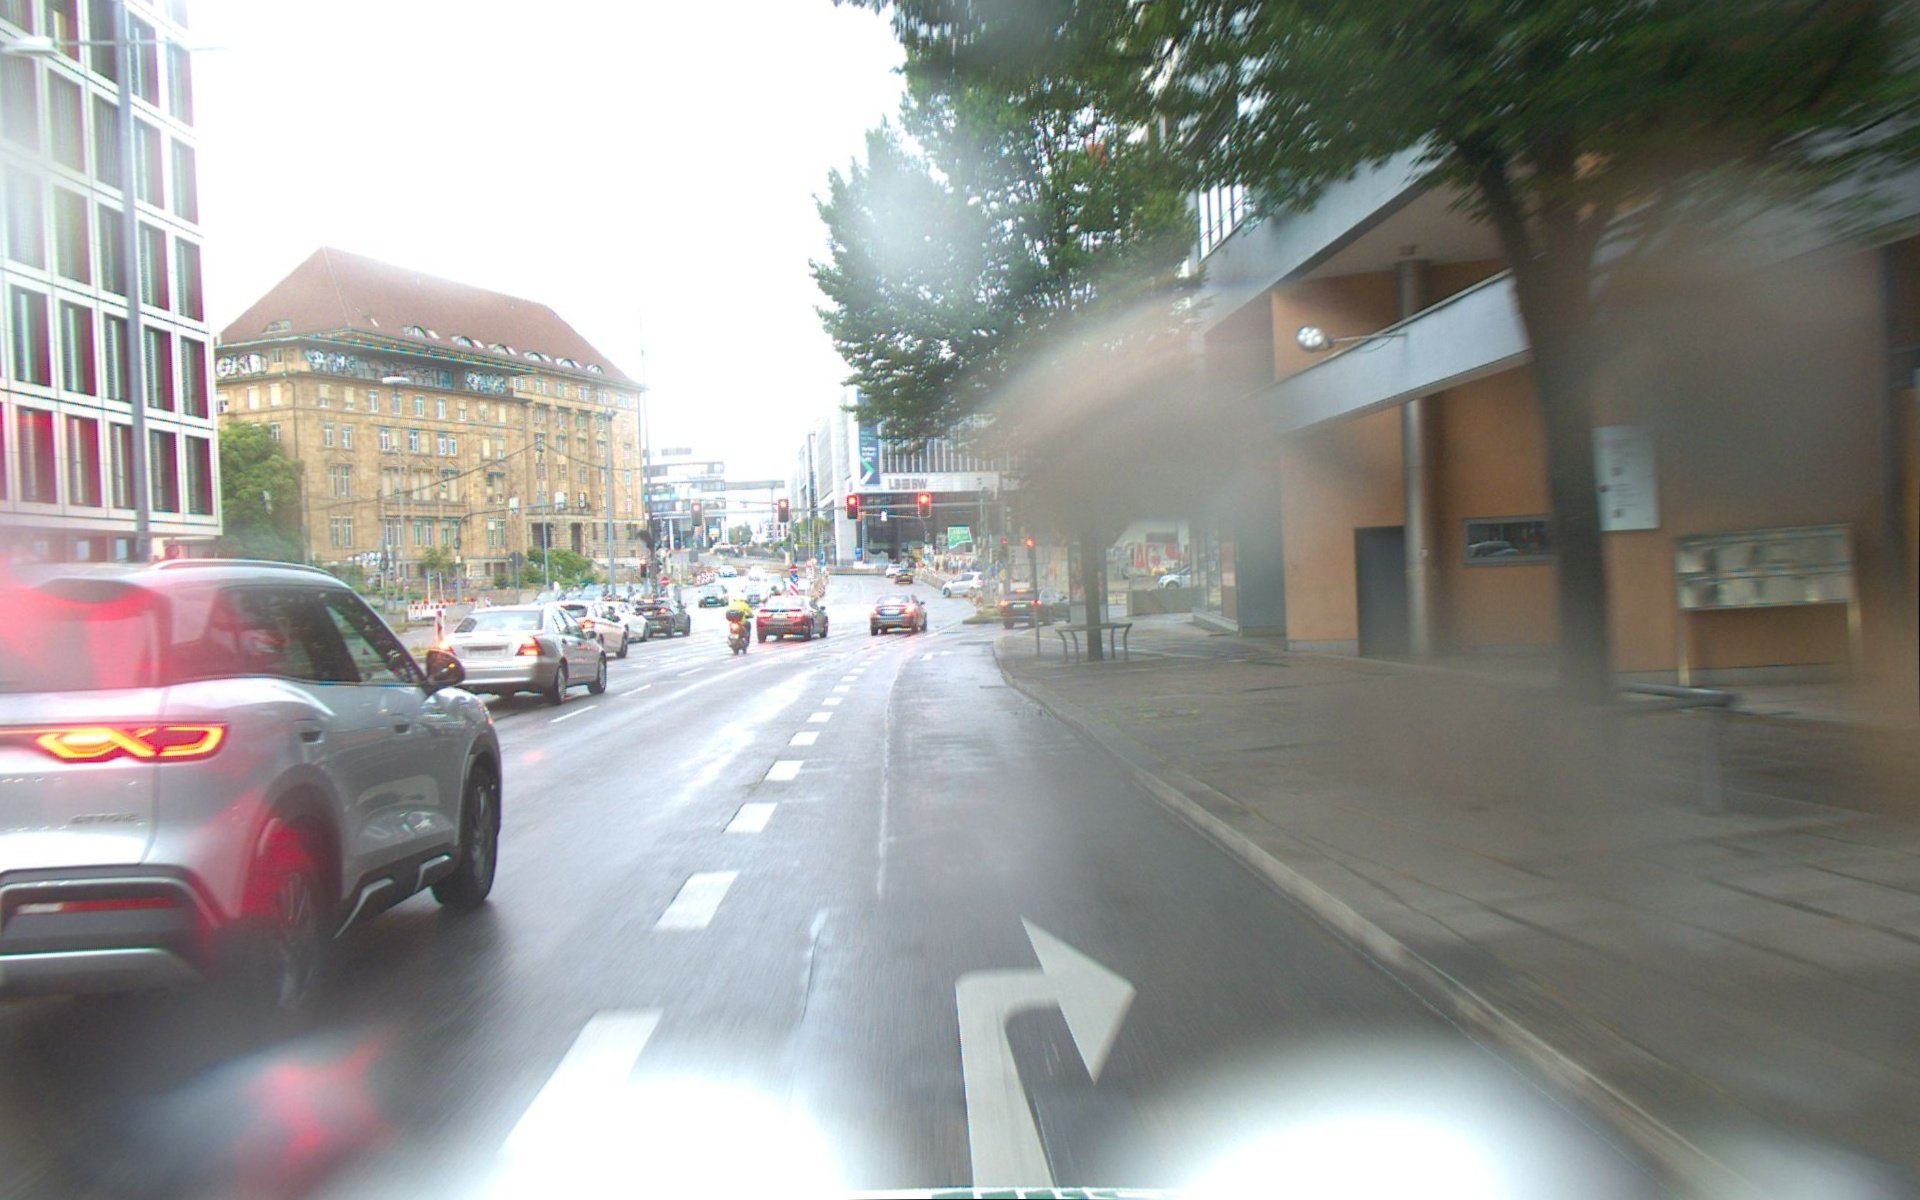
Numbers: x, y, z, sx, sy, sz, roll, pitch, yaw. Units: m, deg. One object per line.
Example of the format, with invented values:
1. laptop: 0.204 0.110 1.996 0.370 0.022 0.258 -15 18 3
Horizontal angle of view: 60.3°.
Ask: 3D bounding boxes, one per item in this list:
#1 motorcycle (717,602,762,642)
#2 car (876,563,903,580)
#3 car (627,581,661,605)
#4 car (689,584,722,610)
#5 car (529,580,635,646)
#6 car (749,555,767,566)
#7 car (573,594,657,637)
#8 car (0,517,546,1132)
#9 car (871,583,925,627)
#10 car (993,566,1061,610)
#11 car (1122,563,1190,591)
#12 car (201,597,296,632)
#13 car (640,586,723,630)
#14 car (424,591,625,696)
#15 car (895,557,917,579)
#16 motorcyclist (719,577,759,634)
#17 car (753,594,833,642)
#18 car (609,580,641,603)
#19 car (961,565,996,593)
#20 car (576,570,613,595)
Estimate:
1. motorcycle: -6.033 0.600 45.327 0.922 1.006 2.294 -1 1 0
2. car: -8.302 -3.301 193.613 1.966 1.847 3.974 -2 0 -22
3. car: -21.873 -0.470 114.735 1.766 1.601 4.072 -1 0 -4
4. car: -16.980 -0.239 110.635 1.785 1.511 3.997 -3 2 -4
5. car: -9.959 0.315 43.857 1.697 1.644 4.001 -1 0 2
6. car: -24.830 -4.870 203.204 1.732 1.282 4.193 -1 0 -1
7. car: -12.189 0.519 58.701 1.745 1.397 3.996 -1 0 6
8. car: -3.008 0.627 6.654 1.772 1.690 4.168 -1 0 -3
9. car: -2.293 0.162 62.313 1.746 1.426 4.488 -2 2 1
10. car: 2.614 -0.459 63.250 1.851 1.571 3.997 -1 0 13
11. car: 12.619 -1.468 106.645 3.914 1.668 1.996 -2 0 -9
12. car: -37.292 0.726 86.797 4.313 1.691 1.990 -2 0 -18
13. car: -10.949 0.309 65.281 1.745 1.627 4.076 -1 0 14
14. car: -6.515 0.594 25.230 1.696 1.428 4.385 -1 0 2
15. car: -5.376 -3.185 163.478 1.955 2.049 3.996 -1 0 -5
16. motorcyclist: -6.052 0.142 45.323 0.922 1.501 1.100 -1 0 0
17. car: -5.792 0.581 57.881 1.847 1.541 5.006 -1 0 5
18. car: -24.206 -0.602 119.701 1.664 1.601 3.997 -1 0 -4
19. car: 1.253 -1.454 113.108 1.697 1.668 3.426 -1 4 -11
20. car: -24.572 -1.193 111.284 1.664 1.545 3.873 -4 1 -2
